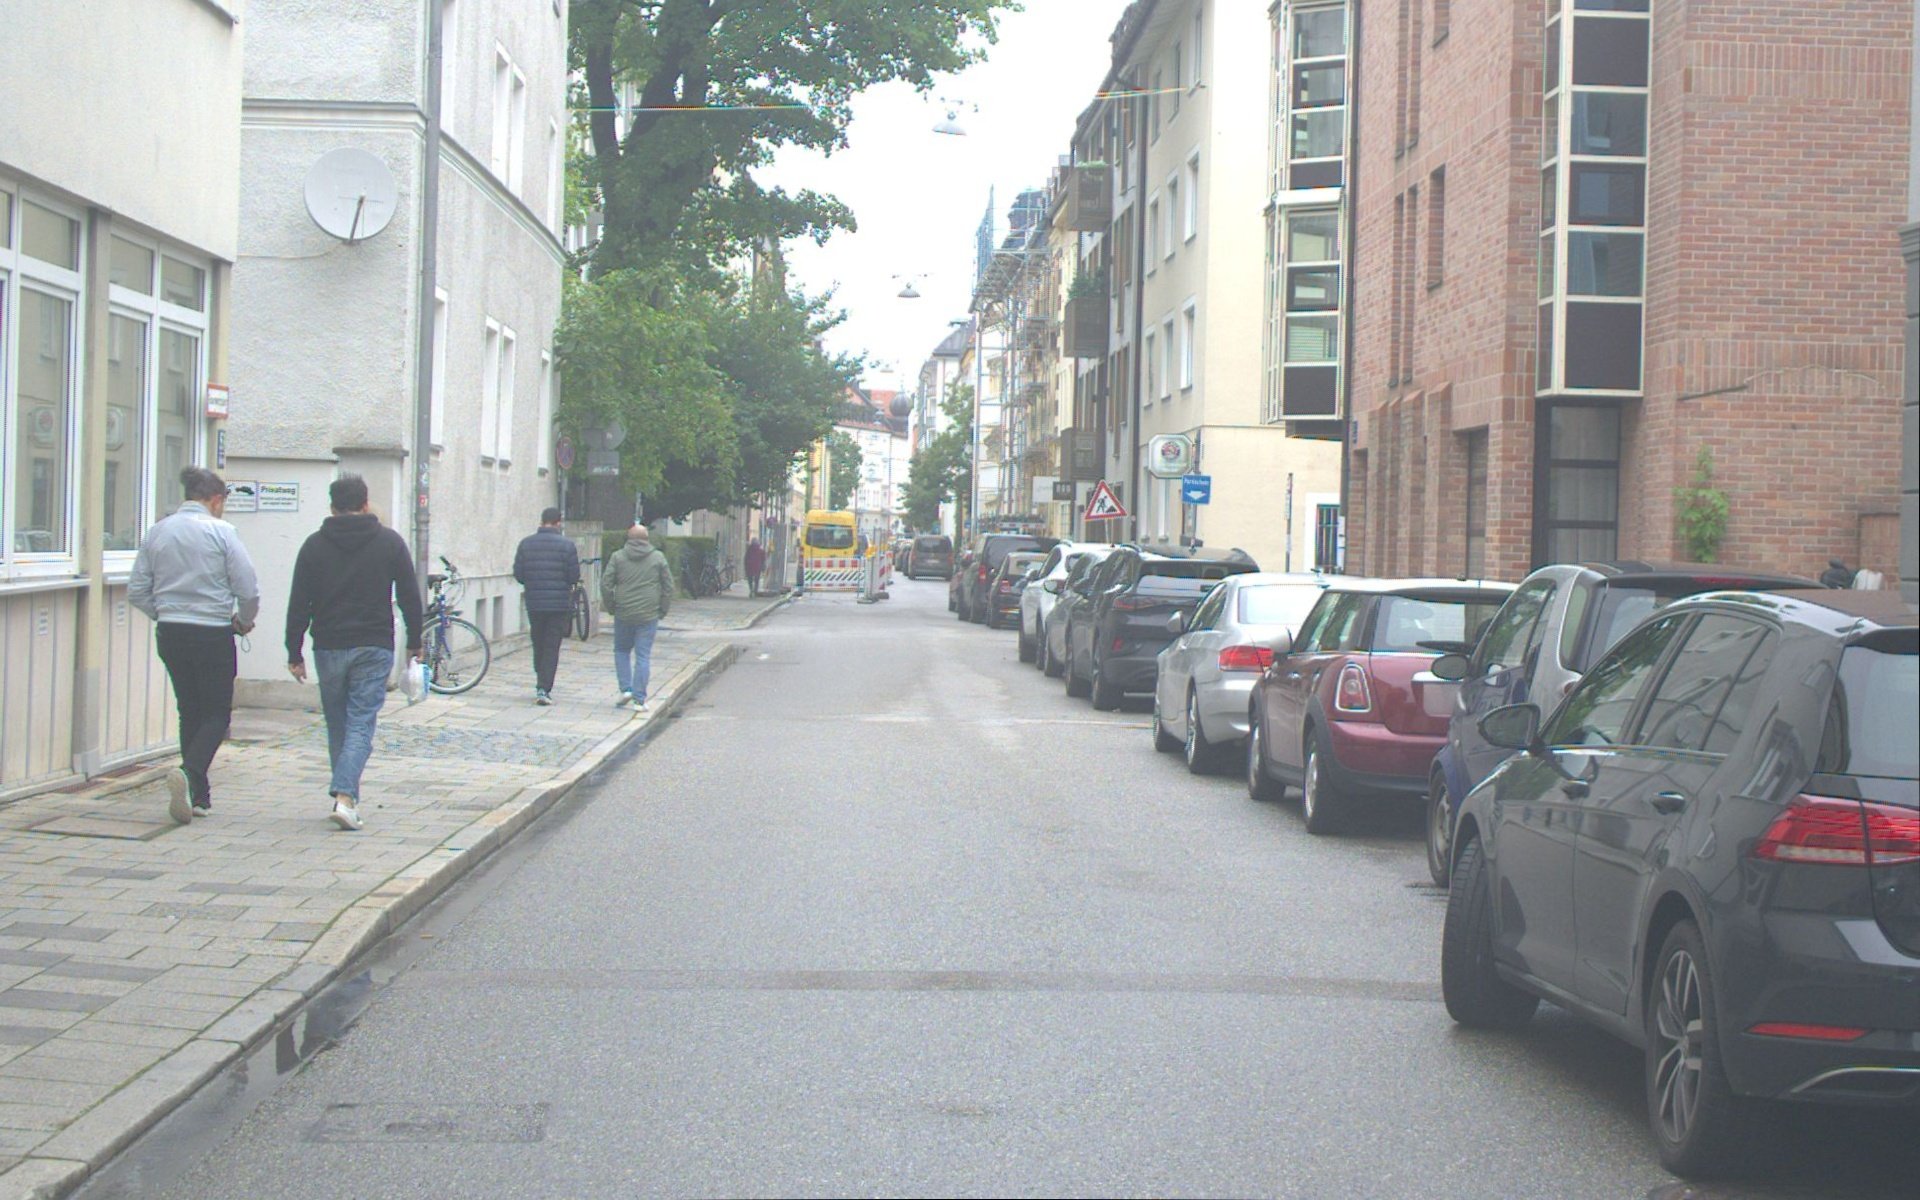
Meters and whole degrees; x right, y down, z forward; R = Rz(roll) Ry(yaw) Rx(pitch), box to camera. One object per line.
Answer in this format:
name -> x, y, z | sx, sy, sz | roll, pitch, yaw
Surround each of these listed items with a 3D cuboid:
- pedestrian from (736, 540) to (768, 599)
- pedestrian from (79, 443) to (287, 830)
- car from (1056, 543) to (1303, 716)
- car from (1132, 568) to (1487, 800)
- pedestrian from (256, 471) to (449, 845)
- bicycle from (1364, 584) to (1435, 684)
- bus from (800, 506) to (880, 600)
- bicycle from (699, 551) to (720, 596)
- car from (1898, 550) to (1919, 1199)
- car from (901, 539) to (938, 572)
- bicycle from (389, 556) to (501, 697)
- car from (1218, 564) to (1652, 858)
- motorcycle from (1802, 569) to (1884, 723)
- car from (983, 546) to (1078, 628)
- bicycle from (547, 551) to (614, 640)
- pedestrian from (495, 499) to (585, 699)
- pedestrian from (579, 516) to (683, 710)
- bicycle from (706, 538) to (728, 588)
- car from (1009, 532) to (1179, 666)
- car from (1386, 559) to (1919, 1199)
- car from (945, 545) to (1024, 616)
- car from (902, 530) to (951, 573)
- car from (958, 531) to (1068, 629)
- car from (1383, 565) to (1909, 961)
pedestrian -> -5.322, -0.788, 88.010 | 0.756, 1.486, 0.831 | 1, 0, -1
pedestrian -> -3.762, 0.169, 16.701 | 0.718, 1.790, 0.917 | 3, 0, -1
car -> 2.136, 0.242, 34.645 | 1.885, 1.550, 4.392 | 2, 1, -4
car -> 2.406, 0.528, 24.802 | 1.836, 1.412, 4.601 | 2, 1, -3
pedestrian -> -2.983, 0.275, 16.957 | 0.718, 1.759, 0.838 | 3, 0, -1
bicycle -> 4.966, 0.373, 38.906 | 0.559, 1.075, 1.472 | 2, 1, -1
bus -> -4.026, -1.581, 116.657 | 2.592, 3.091, 6.306 | 1, 0, -1
bicycle -> -6.180, -0.657, 84.749 | 0.446, 1.069, 2.468 | 1, 0, -3
car -> 2.977, 0.720, 4.906 | 1.875, 1.565, 4.317 | 0, 1, -3
car -> -2.115, -2.311, 177.154 | 1.801, 1.608, 4.000 | 2, 1, -1
bicycle -> -4.615, 0.224, 30.742 | 0.641, 1.213, 1.665 | 1, 0, -20
car -> 2.662, 0.565, 20.206 | 1.745, 1.457, 4.151 | 2, 1, -3
motorcycle -> 7.950, 0.394, 31.008 | 0.540, 1.340, 1.939 | 1, 0, 10
car -> 1.350, -0.271, 66.760 | 1.624, 1.482, 3.808 | 2, 1, -1
bicycle -> -5.015, -0.066, 45.347 | 0.473, 1.107, 1.761 | 2, 1, -19
pedestrian -> -3.704, -0.011, 30.390 | 0.612, 1.707, 0.823 | 4, 0, -2
pedestrian -> -2.913, 0.108, 30.517 | 0.753, 1.653, 0.906 | 4, 0, -1
bicycle -> -6.892, -1.049, 97.539 | 0.514, 1.413, 1.934 | 1, 0, -2
car -> 1.704, -0.051, 44.990 | 1.748, 1.624, 4.197 | 1, 1, -4
car -> 2.518, 0.693, 9.783 | 1.839, 1.523, 4.293 | 2, 1, -3
car -> 0.567, -0.491, 82.991 | 1.635, 1.509, 3.829 | 5, 1, -2
car -> -1.469, -2.107, 148.855 | 1.801, 1.706, 3.827 | 5, 1, -3
car -> 1.065, -0.443, 71.114 | 1.801, 1.814, 4.001 | 5, 1, -4
car -> 2.940, 0.638, 15.343 | 1.521, 1.506, 3.203 | 2, 1, -3
